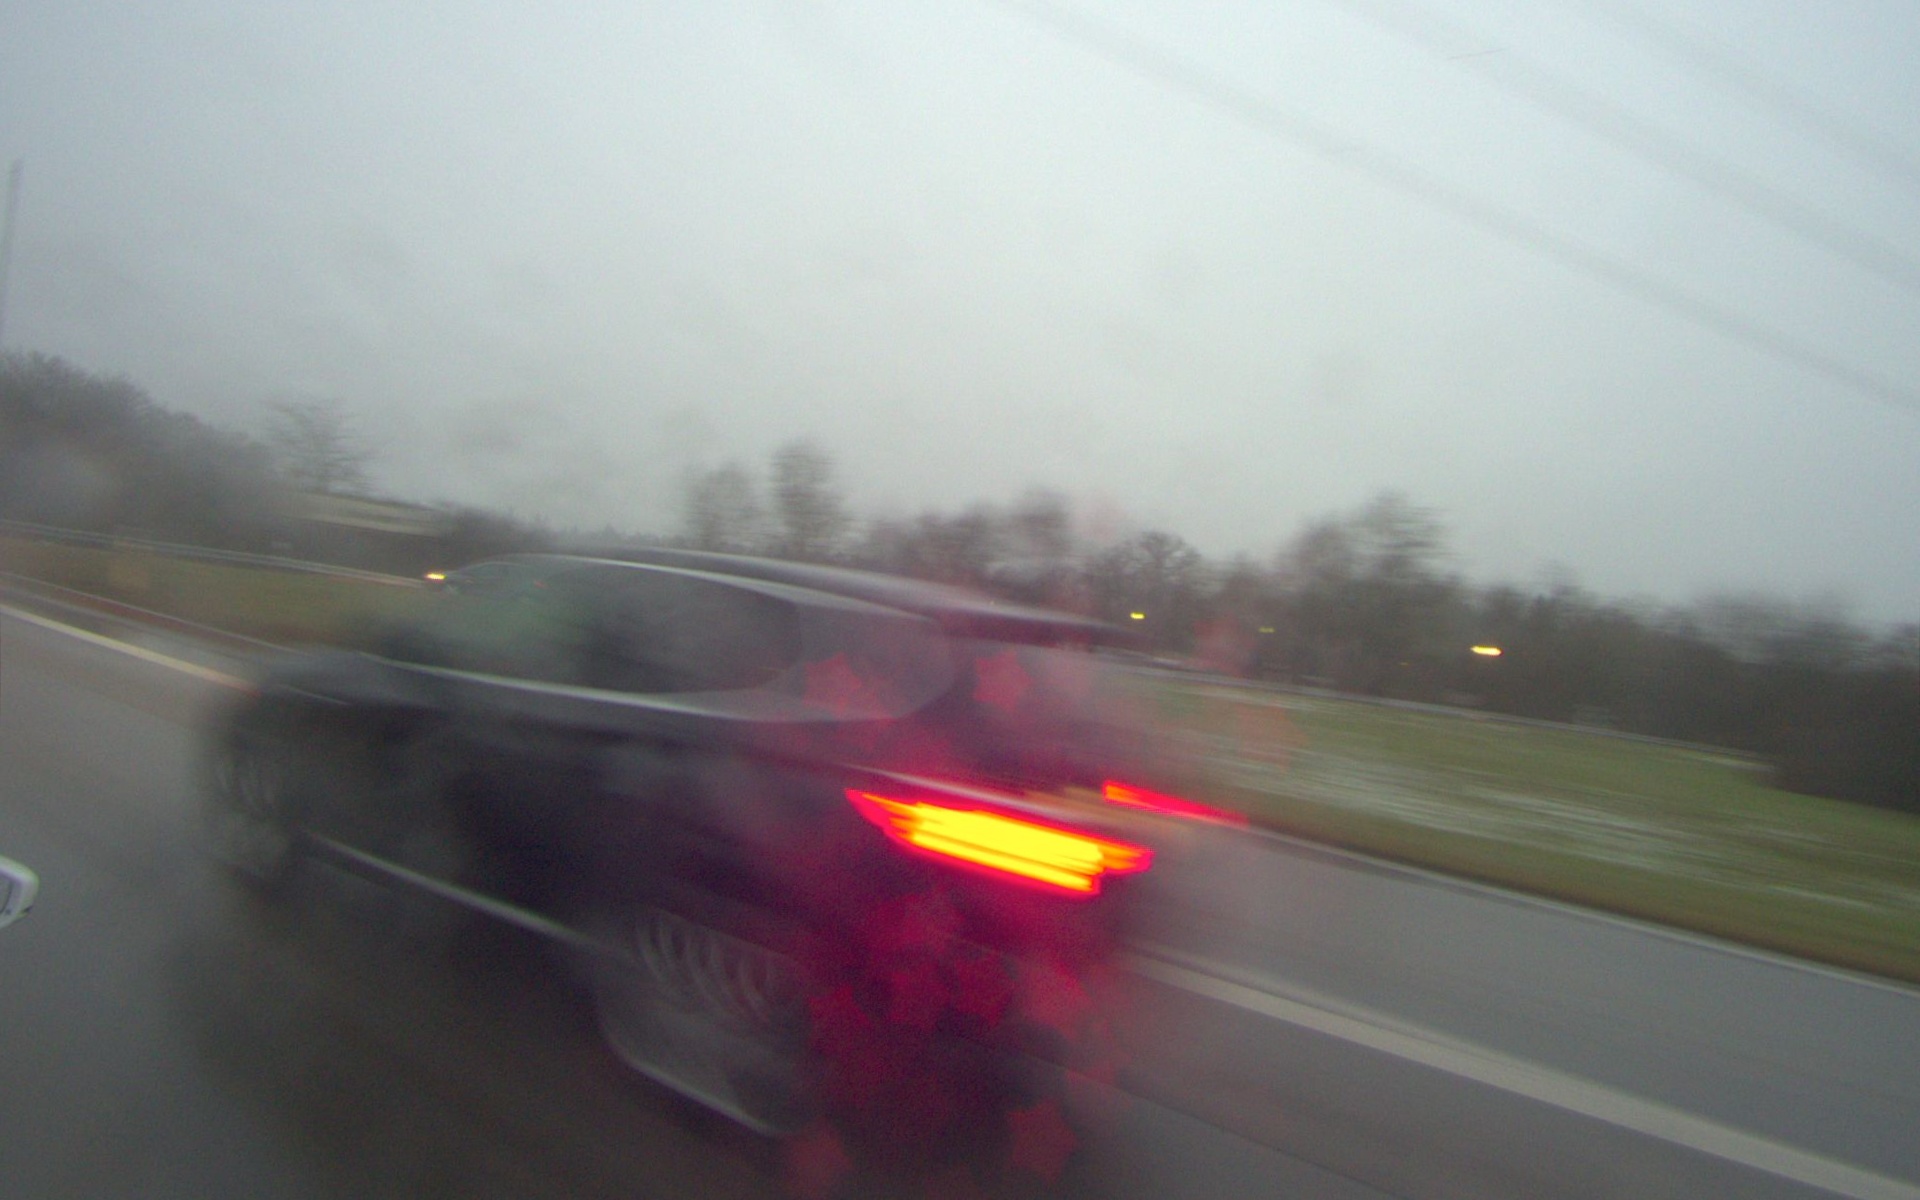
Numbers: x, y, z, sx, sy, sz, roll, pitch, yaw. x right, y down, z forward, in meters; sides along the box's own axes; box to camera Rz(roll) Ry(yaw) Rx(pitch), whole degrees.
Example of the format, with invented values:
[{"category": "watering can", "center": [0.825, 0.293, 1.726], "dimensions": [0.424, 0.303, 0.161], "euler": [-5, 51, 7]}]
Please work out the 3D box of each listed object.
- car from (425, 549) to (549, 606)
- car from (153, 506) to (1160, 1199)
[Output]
[{"category": "car", "center": [-16.664, -0.793, 35.538], "dimensions": [3.775, 1.451, 1.782], "euler": [8, -1, -27]}, {"category": "car", "center": [-1.350, 0.622, 4.054], "dimensions": [3.745, 1.527, 1.681], "euler": [7, -1, 31]}]
